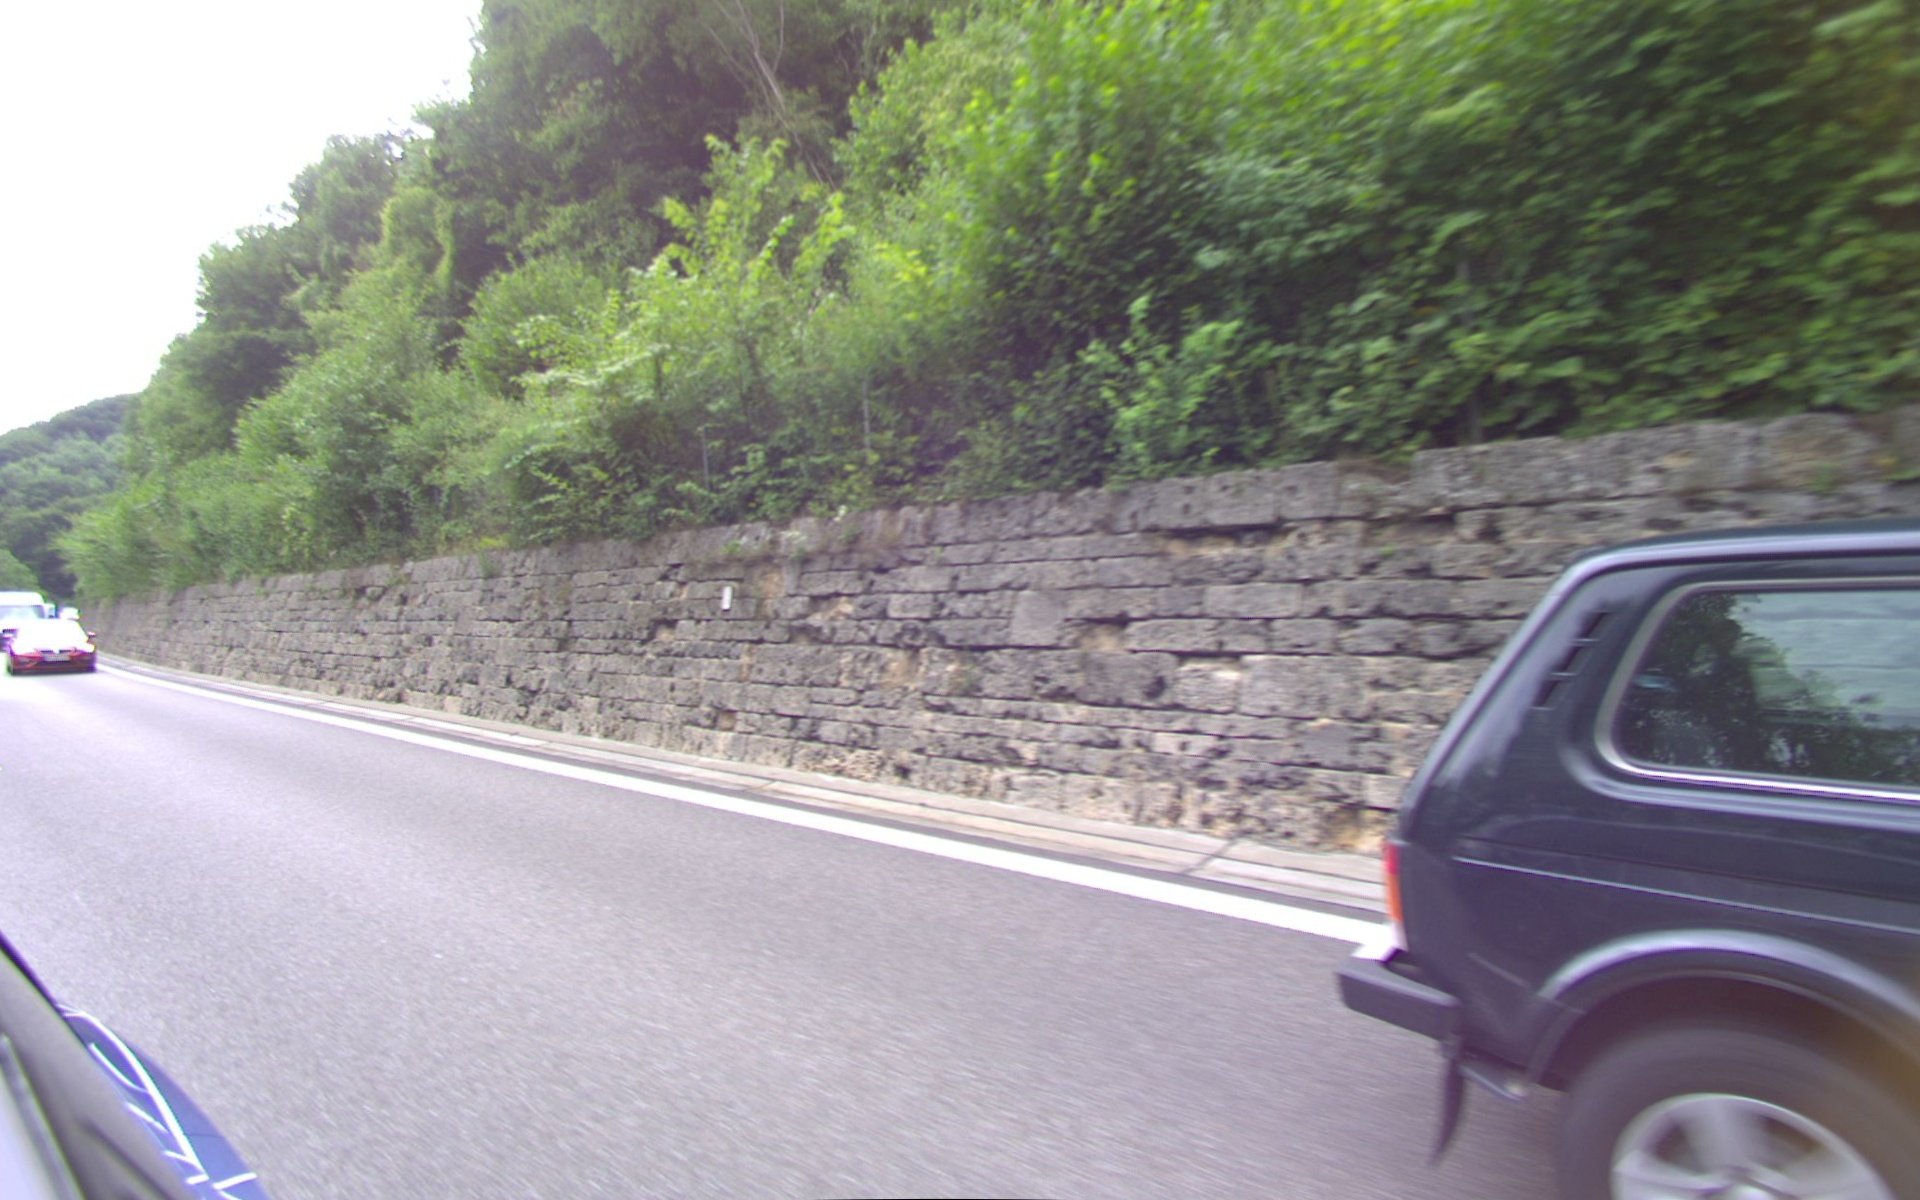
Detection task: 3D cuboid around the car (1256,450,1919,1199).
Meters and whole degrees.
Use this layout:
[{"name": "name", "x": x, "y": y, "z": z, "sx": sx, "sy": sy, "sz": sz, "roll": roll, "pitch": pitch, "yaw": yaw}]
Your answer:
[{"name": "car", "x": 2.754, "y": 0.570, "z": 1.612, "sx": 4.067, "sy": 1.651, "sz": 1.651, "roll": -1, "pitch": -1, "yaw": 42}]

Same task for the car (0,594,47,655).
[{"name": "car", "x": -42.770, "y": 1.074, "z": 45.924, "sx": 2.002, "sy": 2.605, "sz": 6.282, "roll": 0, "pitch": -1, "yaw": -42}]

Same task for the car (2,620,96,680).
[{"name": "car", "x": -25.096, "y": 1.318, "z": 27.840, "sx": 1.746, "sy": 1.471, "sz": 4.414, "roll": 0, "pitch": -1, "yaw": -44}]
